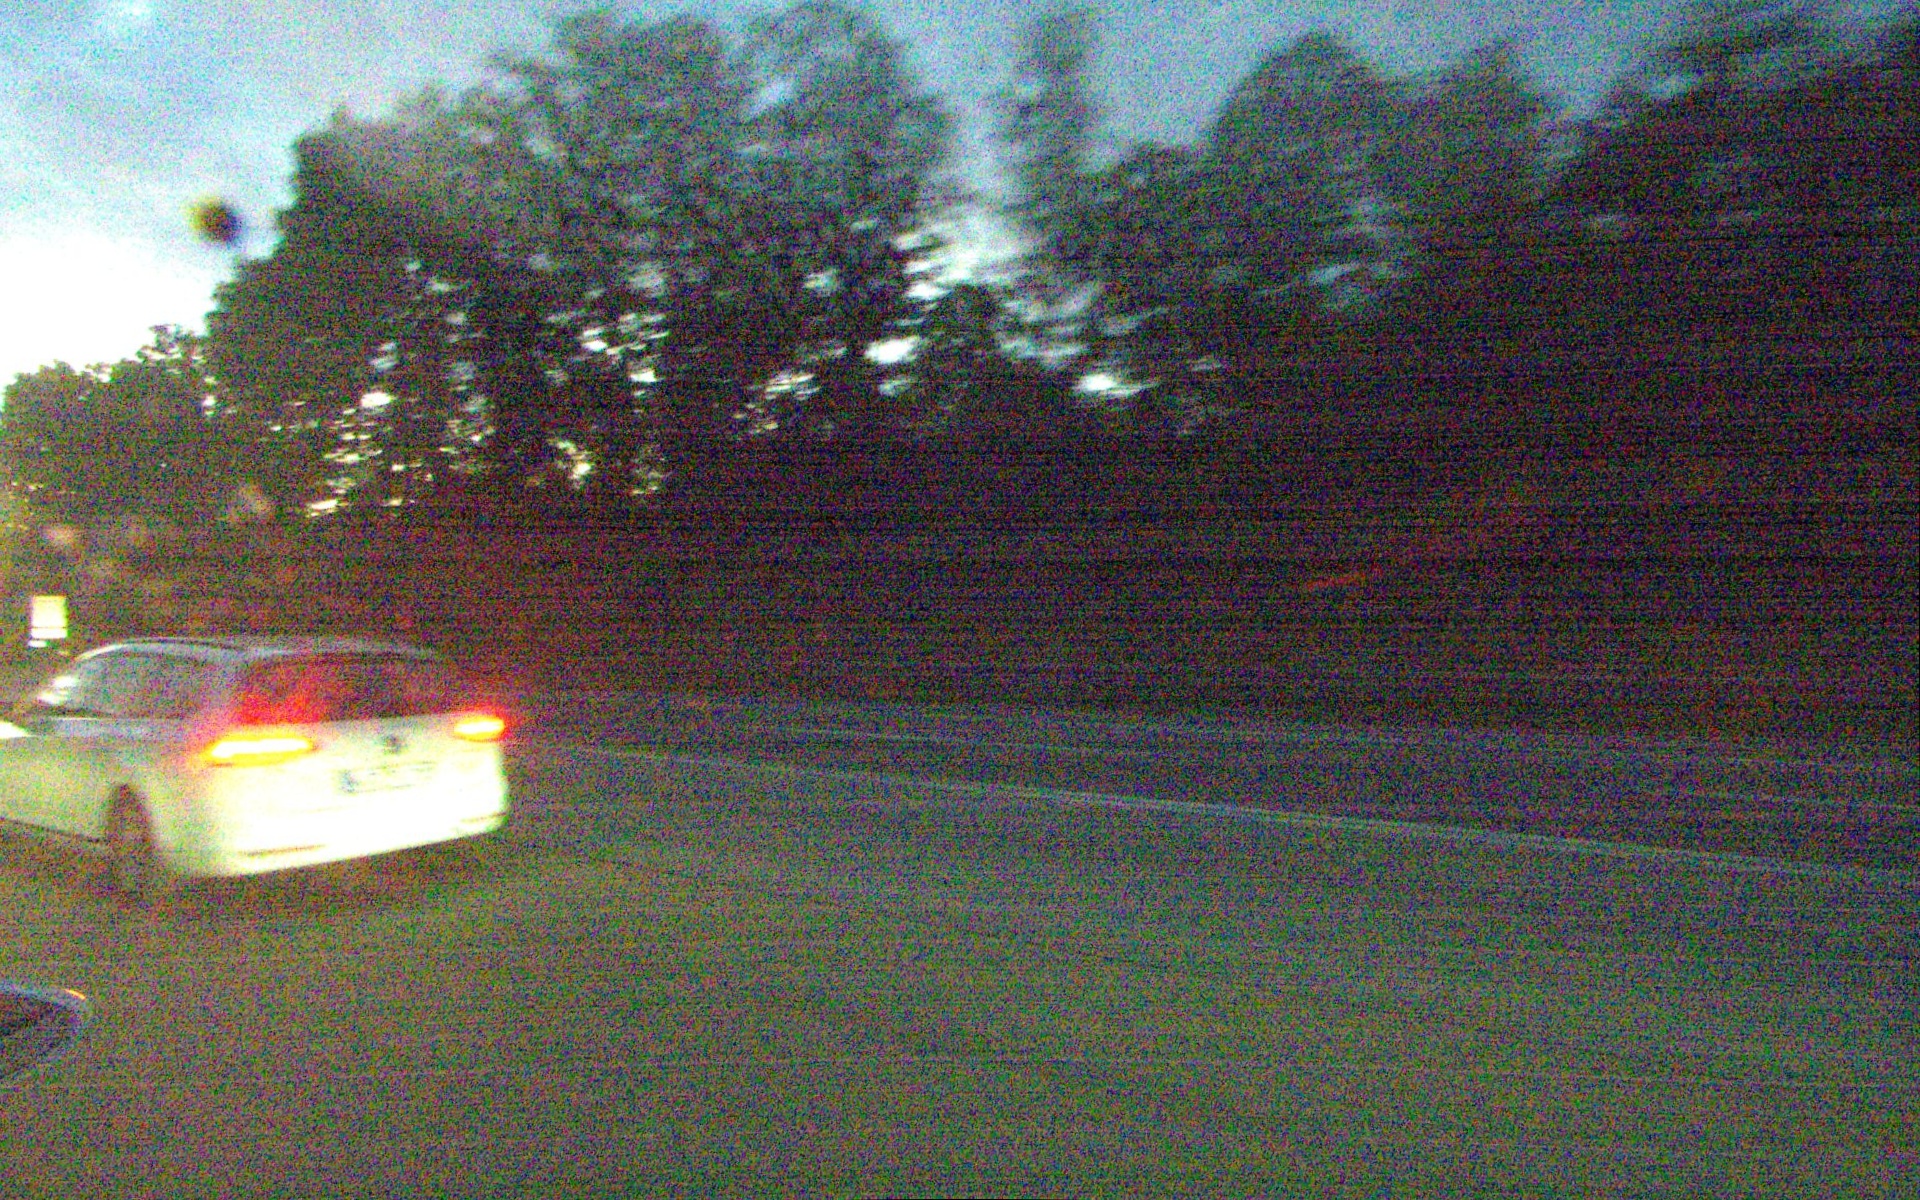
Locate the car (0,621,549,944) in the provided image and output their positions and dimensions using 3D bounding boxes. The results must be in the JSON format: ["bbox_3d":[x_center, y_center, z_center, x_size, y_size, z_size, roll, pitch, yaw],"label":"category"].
[{"bbox_3d":[-5.165,0.906,6.855,5.059,1.485,1.805,0,-1,33],"label":"car"}]
